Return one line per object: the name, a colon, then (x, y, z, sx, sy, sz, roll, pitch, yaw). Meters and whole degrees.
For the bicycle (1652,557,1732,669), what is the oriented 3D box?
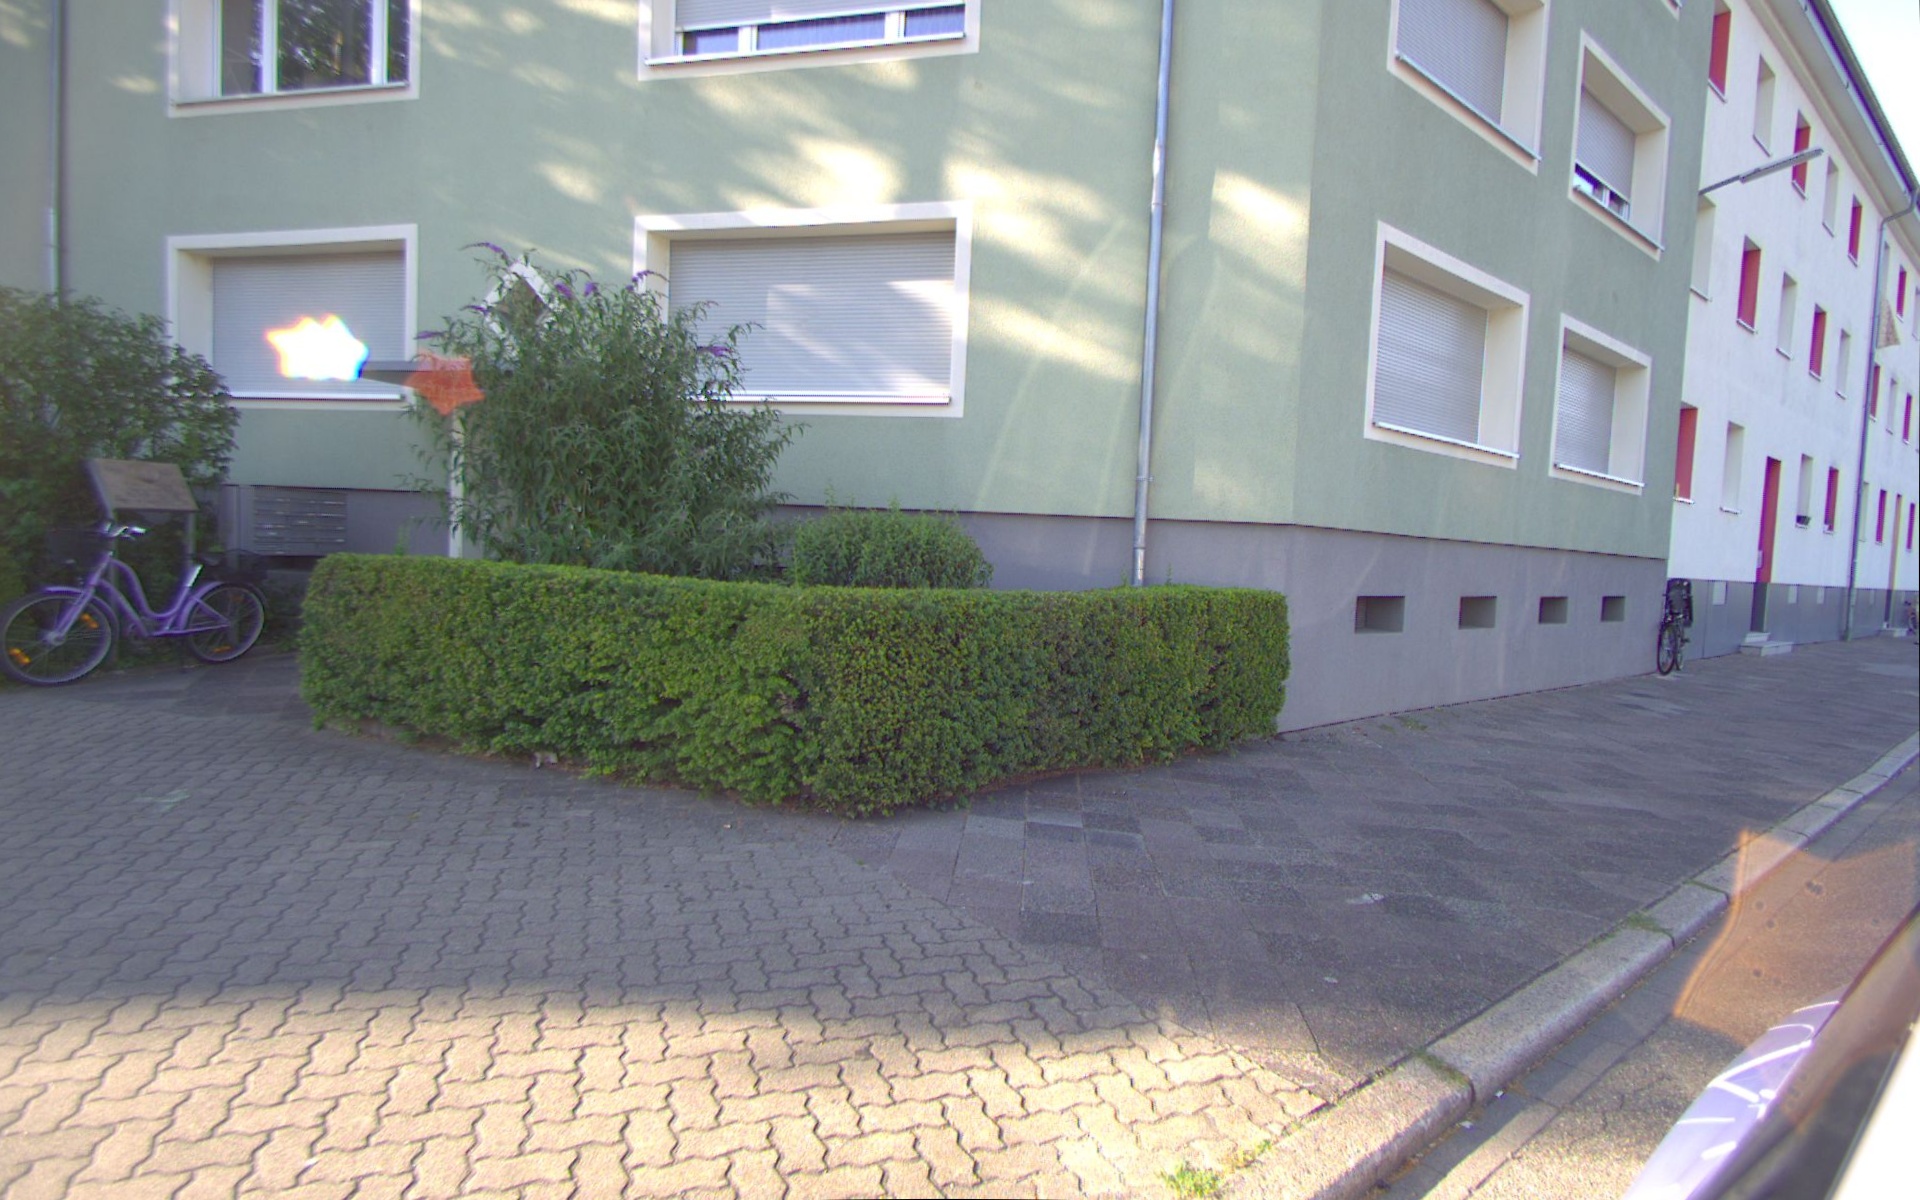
bicycle: (10.136, 0.154, 13.994, 1.843, 1.429, 0.517, -1, 4, -44)

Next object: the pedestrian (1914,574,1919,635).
pedestrian: (24.912, 0.050, 25.706, 0.933, 1.727, 0.787, 0, 4, -41)

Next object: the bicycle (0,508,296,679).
bicycle: (-5.906, -0.090, 7.292, 0.515, 1.069, 1.920, 3, 3, 22)
